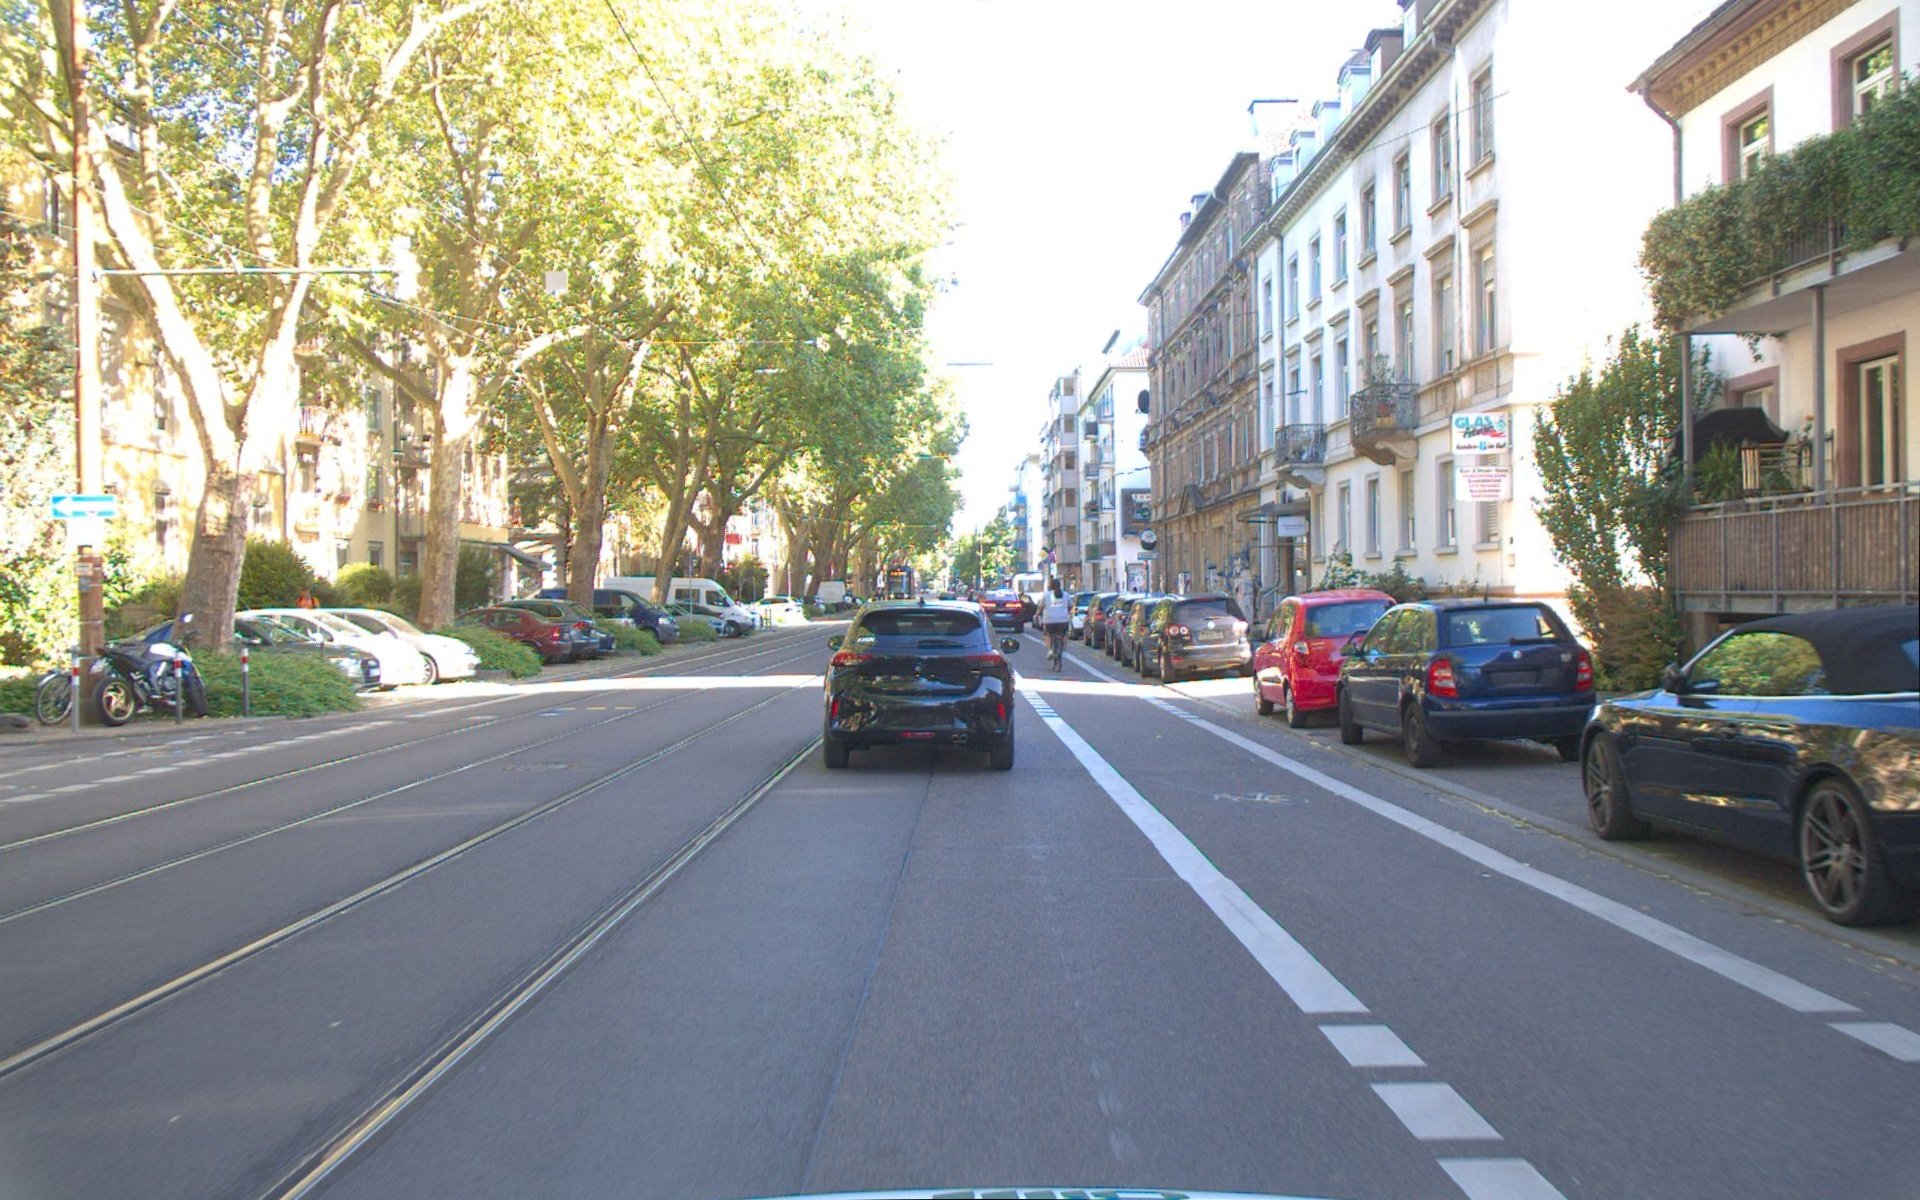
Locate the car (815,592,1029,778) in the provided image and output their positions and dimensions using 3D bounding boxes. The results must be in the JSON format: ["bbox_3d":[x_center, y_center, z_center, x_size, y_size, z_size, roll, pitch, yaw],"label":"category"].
[{"bbox_3d":[-0.329,0.692,15.446,1.757,1.466,3.531,-1,1,-1],"label":"car"}]

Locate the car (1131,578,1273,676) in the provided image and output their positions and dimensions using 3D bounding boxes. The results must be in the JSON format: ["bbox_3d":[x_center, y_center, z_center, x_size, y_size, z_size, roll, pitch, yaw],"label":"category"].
[{"bbox_3d":[4.581,0.489,31.879,1.843,1.613,3.930,-4,0,-4],"label":"car"}]

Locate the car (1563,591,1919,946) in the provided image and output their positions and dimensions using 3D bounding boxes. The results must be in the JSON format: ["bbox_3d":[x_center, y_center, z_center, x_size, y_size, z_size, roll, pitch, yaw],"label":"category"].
[{"bbox_3d":[4.843,0.694,8.781,1.659,1.417,4.495,-2,0,1],"label":"car"}]

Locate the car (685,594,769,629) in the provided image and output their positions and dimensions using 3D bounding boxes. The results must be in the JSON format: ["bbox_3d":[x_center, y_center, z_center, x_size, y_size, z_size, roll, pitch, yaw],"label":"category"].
[{"bbox_3d":[-11.217,0.545,79.694,3.842,1.605,1.676,0,0,-3],"label":"car"}]

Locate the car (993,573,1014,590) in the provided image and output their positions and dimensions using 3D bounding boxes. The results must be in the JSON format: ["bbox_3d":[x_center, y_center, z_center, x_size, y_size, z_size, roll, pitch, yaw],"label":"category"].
[{"bbox_3d":[3.886,-1.668,149.063,1.773,1.361,3.933,-5,0,1],"label":"car"}]

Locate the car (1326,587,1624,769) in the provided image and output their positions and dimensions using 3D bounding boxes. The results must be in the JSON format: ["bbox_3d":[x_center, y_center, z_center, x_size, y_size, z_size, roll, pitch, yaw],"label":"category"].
[{"bbox_3d":[4.813,0.656,16.008,1.617,1.481,3.868,-2,0,0],"label":"car"}]

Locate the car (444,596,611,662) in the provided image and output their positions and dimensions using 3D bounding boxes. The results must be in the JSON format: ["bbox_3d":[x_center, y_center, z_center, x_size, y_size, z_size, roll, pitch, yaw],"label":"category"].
[{"bbox_3d":[-11.370,0.751,43.687,3.913,1.655,1.879,0,0,-1],"label":"car"}]

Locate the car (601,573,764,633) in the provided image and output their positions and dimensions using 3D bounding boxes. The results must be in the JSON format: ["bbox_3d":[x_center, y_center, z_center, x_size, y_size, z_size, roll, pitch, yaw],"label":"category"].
[{"bbox_3d":[-11.776,0.137,70.611,6.492,2.451,2.458,0,0,0],"label":"car"}]

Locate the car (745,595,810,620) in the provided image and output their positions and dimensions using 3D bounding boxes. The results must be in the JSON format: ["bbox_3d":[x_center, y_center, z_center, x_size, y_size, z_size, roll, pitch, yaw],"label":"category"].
[{"bbox_3d":[-11.177,0.461,101.617,3.842,1.524,1.676,0,0,-3],"label":"car"}]

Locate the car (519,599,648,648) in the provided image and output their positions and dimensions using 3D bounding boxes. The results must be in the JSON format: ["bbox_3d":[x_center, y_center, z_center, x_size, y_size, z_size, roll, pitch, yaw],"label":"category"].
[{"bbox_3d":[-11.935,0.737,52.584,3.658,1.524,1.746,0,0,-1],"label":"car"}]

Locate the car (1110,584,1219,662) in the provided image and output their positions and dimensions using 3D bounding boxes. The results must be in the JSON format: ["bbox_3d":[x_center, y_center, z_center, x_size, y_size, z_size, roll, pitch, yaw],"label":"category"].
[{"bbox_3d":[4.437,0.475,36.421,1.763,1.481,3.767,-4,0,-1],"label":"car"}]

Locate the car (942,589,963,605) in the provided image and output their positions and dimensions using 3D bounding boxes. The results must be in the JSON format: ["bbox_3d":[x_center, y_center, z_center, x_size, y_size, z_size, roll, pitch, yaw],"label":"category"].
[{"bbox_3d":[-0.642,-0.242,143.536,1.772,1.361,3.933,-1,0,1],"label":"car"}]

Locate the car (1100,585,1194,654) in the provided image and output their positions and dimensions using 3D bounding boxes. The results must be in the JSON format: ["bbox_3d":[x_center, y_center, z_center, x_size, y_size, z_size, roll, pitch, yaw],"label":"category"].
[{"bbox_3d":[4.593,0.457,41.156,1.842,1.481,4.026,-5,0,1],"label":"car"}]

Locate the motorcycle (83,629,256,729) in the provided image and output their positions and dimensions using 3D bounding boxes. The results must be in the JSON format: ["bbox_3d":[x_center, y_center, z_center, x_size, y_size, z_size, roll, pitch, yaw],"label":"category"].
[{"bbox_3d":[-10.296,1.004,21.668,0.865,1.167,2.392,-1,1,7],"label":"motorcycle"}]

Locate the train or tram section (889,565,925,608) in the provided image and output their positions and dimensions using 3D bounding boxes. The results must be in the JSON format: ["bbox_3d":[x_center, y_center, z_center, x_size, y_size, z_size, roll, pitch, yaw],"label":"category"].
[{"bbox_3d":[-4.843,-1.272,153.439,2.678,3.746,12.717,-2,0,1],"label":"train or tram section"}]

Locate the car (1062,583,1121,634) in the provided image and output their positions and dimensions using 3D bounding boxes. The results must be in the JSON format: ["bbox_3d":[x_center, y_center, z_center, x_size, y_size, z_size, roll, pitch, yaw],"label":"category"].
[{"bbox_3d":[4.421,0.274,55.936,1.536,1.543,3.039,-4,0,-3],"label":"car"}]

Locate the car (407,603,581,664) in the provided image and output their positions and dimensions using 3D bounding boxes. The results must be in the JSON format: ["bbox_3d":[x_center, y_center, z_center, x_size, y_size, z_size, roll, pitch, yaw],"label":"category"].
[{"bbox_3d":[-11.631,0.829,41.456,3.839,1.467,1.749,0,0,0],"label":"car"}]

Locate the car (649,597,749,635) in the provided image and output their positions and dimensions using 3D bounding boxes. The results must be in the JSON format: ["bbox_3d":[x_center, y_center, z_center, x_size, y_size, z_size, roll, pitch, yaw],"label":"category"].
[{"bbox_3d":[-10.748,0.659,68.237,3.840,1.524,1.677,0,0,-1],"label":"car"}]

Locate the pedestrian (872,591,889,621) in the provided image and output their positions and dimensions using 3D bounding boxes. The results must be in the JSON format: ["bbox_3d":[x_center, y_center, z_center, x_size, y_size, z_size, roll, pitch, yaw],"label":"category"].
[{"bbox_3d":[-4.280,0.326,88.726,0.664,1.594,0.769,-1,0,16],"label":"pedestrian"}]

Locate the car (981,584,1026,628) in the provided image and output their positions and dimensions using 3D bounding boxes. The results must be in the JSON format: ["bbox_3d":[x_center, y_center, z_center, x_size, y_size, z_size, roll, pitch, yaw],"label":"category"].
[{"bbox_3d":[1.814,0.235,69.565,1.772,1.772,3.933,-1,0,1],"label":"car"}]

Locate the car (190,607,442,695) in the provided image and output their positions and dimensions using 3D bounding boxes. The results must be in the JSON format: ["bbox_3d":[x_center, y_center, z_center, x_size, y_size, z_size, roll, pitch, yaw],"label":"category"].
[{"bbox_3d":[-11.606,0.903,30.000,3.841,1.478,1.800,-1,0,-1],"label":"car"}]

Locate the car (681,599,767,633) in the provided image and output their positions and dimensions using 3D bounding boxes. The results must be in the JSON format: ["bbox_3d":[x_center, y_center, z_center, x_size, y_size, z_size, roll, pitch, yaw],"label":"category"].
[{"bbox_3d":[-11.010,0.734,77.249,3.842,1.524,1.676,0,0,-3],"label":"car"}]

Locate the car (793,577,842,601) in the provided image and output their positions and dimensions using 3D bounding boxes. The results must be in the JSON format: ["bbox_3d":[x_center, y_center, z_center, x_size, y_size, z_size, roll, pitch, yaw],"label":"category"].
[{"bbox_3d":[-11.374,-0.878,132.037,3.842,1.821,1.676,0,0,-3],"label":"car"}]

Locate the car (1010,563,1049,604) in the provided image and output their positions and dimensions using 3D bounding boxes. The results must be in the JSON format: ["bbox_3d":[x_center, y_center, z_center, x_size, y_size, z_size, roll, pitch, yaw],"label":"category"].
[{"bbox_3d":[4.140,-0.980,98.581,2.033,2.257,4.934,-4,0,1],"label":"car"}]

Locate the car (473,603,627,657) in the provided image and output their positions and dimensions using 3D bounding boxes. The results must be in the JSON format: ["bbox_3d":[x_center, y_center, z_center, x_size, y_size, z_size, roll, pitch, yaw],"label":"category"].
[{"bbox_3d":[-11.390,0.814,46.091,3.841,1.446,1.818,0,0,-2],"label":"car"}]

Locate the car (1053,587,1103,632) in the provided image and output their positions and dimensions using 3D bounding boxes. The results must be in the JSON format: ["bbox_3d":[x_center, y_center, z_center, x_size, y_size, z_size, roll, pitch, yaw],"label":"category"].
[{"bbox_3d":[4.316,0.336,60.988,1.669,1.481,3.699,-4,0,3],"label":"car"}]

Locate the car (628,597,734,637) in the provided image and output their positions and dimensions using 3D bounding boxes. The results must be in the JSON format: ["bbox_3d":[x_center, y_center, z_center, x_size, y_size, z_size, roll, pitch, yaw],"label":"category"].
[{"bbox_3d":[-10.926,0.671,64.930,3.839,1.524,1.677,0,0,1],"label":"car"}]

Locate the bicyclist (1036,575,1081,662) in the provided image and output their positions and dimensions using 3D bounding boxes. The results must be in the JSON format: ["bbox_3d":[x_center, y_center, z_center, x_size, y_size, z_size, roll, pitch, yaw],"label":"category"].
[{"bbox_3d":[2.057,0.374,34.579,0.831,1.770,1.161,-1,0,-2],"label":"bicyclist"}]

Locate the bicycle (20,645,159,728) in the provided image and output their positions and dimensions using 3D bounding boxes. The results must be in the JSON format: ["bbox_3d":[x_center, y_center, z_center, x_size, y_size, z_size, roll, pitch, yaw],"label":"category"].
[{"bbox_3d":[-11.370,1.111,21.673,0.529,0.957,2.035,-1,1,7],"label":"bicycle"}]

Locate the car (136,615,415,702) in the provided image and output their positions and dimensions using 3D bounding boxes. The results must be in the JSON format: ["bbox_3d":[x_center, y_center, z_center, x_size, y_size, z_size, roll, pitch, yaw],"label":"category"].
[{"bbox_3d":[-11.304,0.945,27.509,3.839,1.355,1.847,0,0,0],"label":"car"}]

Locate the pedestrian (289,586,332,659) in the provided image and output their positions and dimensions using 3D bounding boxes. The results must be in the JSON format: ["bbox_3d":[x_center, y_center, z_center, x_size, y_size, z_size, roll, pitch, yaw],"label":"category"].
[{"bbox_3d":[-17.037,0.577,43.374,0.848,1.882,0.836,-1,0,-8],"label":"pedestrian"}]

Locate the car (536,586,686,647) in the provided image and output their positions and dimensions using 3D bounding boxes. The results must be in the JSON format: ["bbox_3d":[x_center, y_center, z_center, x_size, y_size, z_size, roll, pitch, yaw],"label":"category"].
[{"bbox_3d":[-11.669,0.548,55.568,4.579,1.957,1.980,0,0,1],"label":"car"}]

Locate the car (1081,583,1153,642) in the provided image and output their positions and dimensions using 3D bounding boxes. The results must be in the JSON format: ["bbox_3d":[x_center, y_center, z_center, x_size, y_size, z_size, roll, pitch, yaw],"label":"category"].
[{"bbox_3d":[4.456,0.338,47.402,1.676,1.509,3.764,-4,0,1],"label":"car"}]

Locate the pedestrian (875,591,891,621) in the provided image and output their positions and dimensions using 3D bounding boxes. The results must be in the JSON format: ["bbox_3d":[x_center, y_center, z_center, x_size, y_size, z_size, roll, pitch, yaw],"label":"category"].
[{"bbox_3d":[-4.164,0.321,89.542,0.664,1.594,0.769,-1,0,16],"label":"pedestrian"}]

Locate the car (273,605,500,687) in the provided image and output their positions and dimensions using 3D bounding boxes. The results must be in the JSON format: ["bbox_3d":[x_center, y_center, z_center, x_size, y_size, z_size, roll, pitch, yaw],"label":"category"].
[{"bbox_3d":[-11.343,0.894,32.888,3.839,1.488,1.805,-1,0,0],"label":"car"}]

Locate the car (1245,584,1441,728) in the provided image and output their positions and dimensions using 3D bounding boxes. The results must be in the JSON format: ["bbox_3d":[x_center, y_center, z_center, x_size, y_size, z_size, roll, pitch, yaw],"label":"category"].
[{"bbox_3d":[4.647,0.625,20.514,1.601,1.573,3.576,-2,0,1],"label":"car"}]

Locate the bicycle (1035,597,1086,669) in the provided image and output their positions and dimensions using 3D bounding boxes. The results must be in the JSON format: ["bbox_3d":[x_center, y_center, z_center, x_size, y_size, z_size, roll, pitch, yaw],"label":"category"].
[{"bbox_3d":[2.081,0.654,34.526,0.843,1.431,2.523,-1,0,-1],"label":"bicycle"}]

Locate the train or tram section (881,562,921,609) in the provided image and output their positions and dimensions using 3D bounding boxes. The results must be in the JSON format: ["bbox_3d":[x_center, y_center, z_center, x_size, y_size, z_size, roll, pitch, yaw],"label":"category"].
[{"bbox_3d":[-4.966,-1.206,140.638,2.678,3.746,12.717,-2,0,1],"label":"train or tram section"}]

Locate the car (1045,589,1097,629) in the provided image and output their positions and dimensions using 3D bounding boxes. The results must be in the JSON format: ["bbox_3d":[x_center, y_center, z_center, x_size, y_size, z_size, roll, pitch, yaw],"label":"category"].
[{"bbox_3d":[4.349,0.334,65.292,1.773,1.361,3.933,-5,0,1],"label":"car"}]
